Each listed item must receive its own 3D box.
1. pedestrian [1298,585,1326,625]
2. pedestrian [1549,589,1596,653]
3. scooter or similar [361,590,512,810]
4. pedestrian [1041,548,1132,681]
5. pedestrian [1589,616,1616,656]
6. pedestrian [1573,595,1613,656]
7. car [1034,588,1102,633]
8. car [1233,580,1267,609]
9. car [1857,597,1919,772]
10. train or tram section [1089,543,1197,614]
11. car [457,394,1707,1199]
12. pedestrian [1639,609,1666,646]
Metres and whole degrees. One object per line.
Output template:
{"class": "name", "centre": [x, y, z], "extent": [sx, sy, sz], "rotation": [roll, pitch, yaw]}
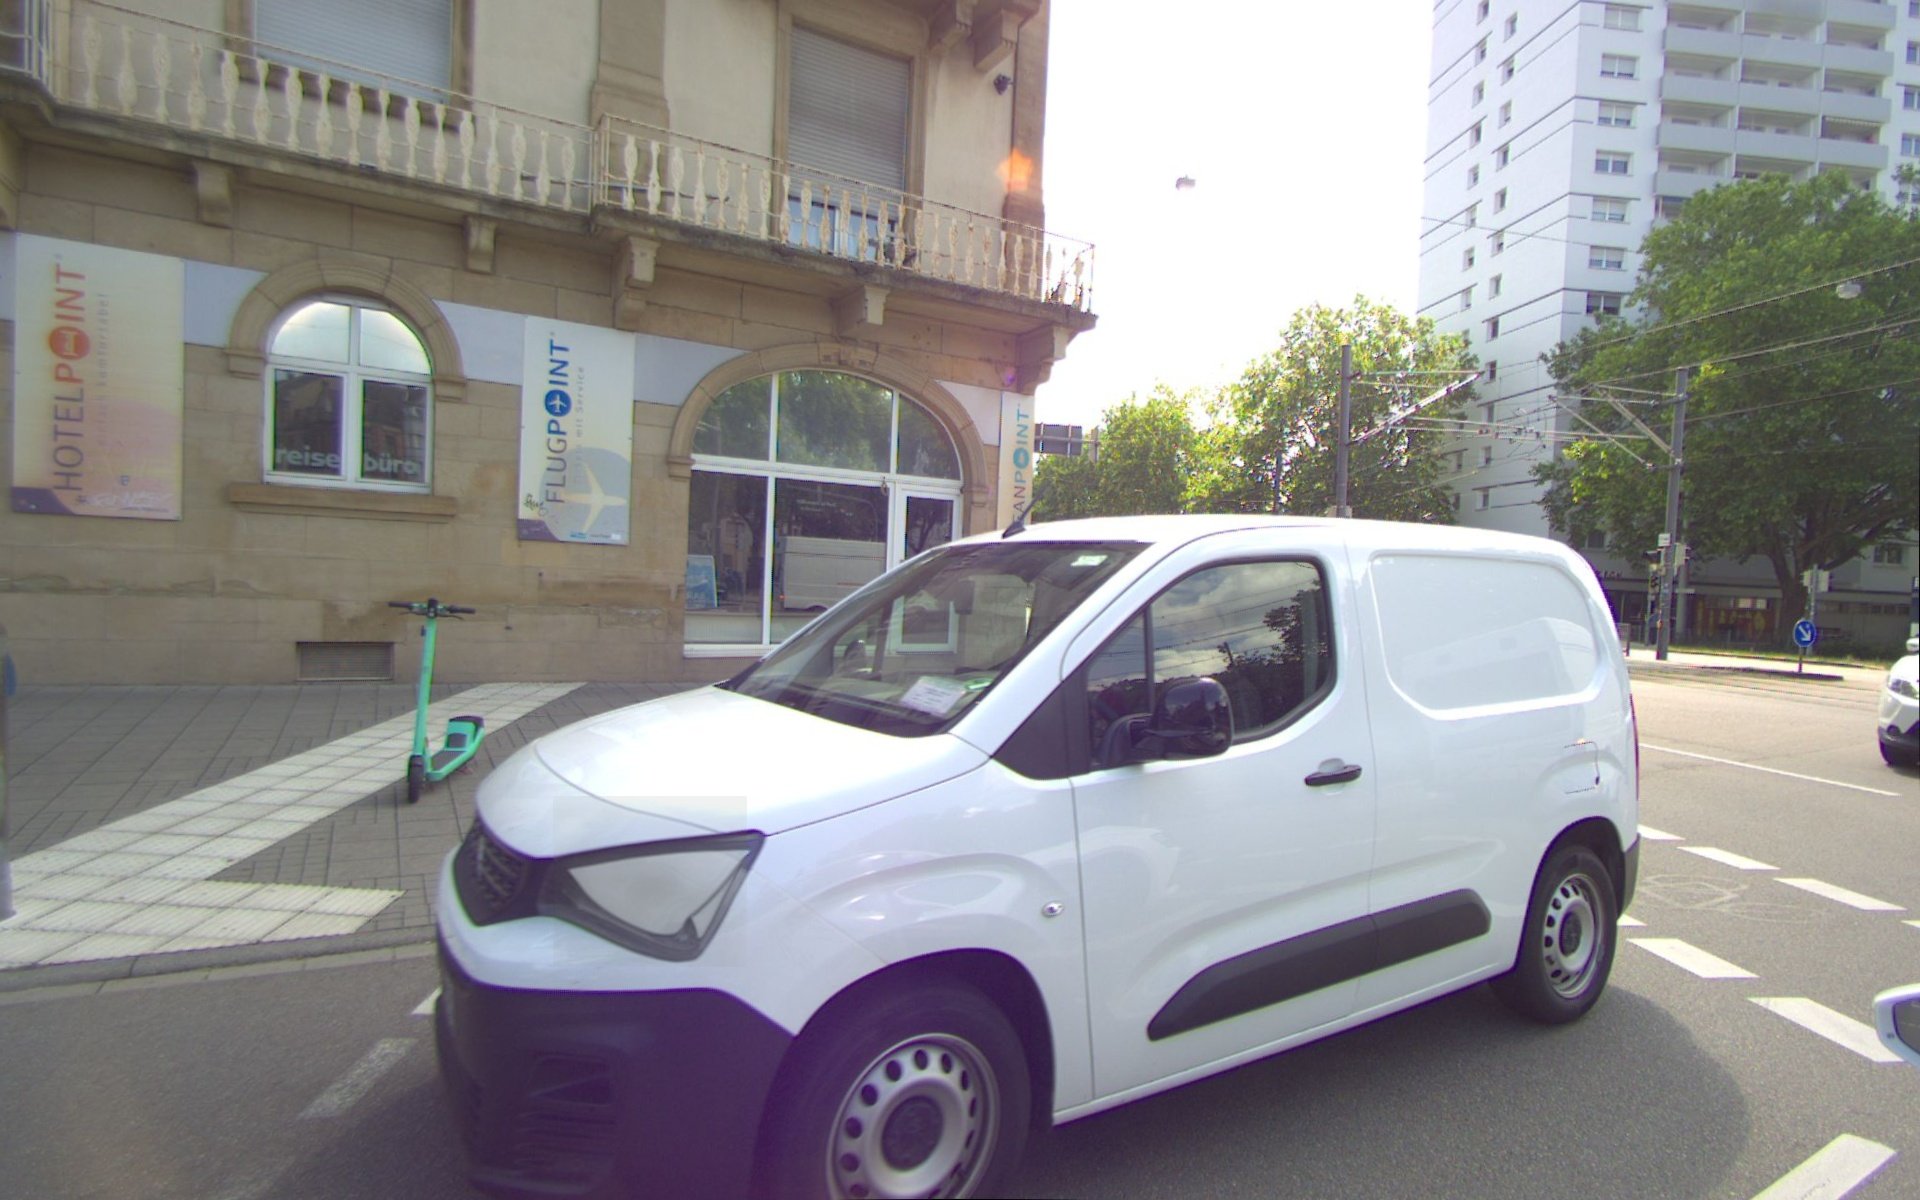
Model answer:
{"class": "pedestrian", "centre": [16.757, 0.228, 47.800], "extent": [0.835, 1.804, 1.044], "rotation": [2, 1, -5]}
{"class": "pedestrian", "centre": [18.937, 0.644, 31.055], "extent": [0.814, 1.924, 0.845], "rotation": [2, 1, -6]}
{"class": "scooter or similar", "centre": [-3.201, 0.561, 6.230], "extent": [0.473, 1.161, 1.250], "rotation": [3, 3, -12]}
{"class": "pedestrian", "centre": [1.885, 0.205, 15.037], "extent": [0.895, 1.884, 0.798], "rotation": [5, 1, -30]}
{"class": "pedestrian", "centre": [18.051, 1.011, 28.245], "extent": [0.412, 1.077, 0.436], "rotation": [2, 1, -5]}
{"class": "pedestrian", "centre": [18.189, 0.722, 28.888], "extent": [0.614, 1.688, 0.675], "rotation": [2, 1, -5]}
{"class": "car", "centre": [3.772, 0.335, 35.670], "extent": [1.608, 1.458, 3.639], "rotation": [2, 1, -7]}
{"class": "car", "centre": [30.050, -0.616, 104.267], "extent": [1.779, 2.812, 4.274], "rotation": [2, 1, -6]}
{"class": "car", "centre": [10.704, 0.801, 9.850], "extent": [3.974, 1.603, 1.761], "rotation": [1, 0, -31]}
{"class": "train or tram section", "centre": [10.549, -1.276, 59.838], "extent": [2.763, 3.632, 13.003], "rotation": [3, 1, -6]}
{"class": "car", "centre": [0.653, 0.558, 3.579], "extent": [4.236, 1.799, 1.802], "rotation": [1, 1, -32]}
{"class": "pedestrian", "centre": [30.865, 1.223, 44.782], "extent": [0.525, 1.620, 0.783], "rotation": [2, 1, -8]}
